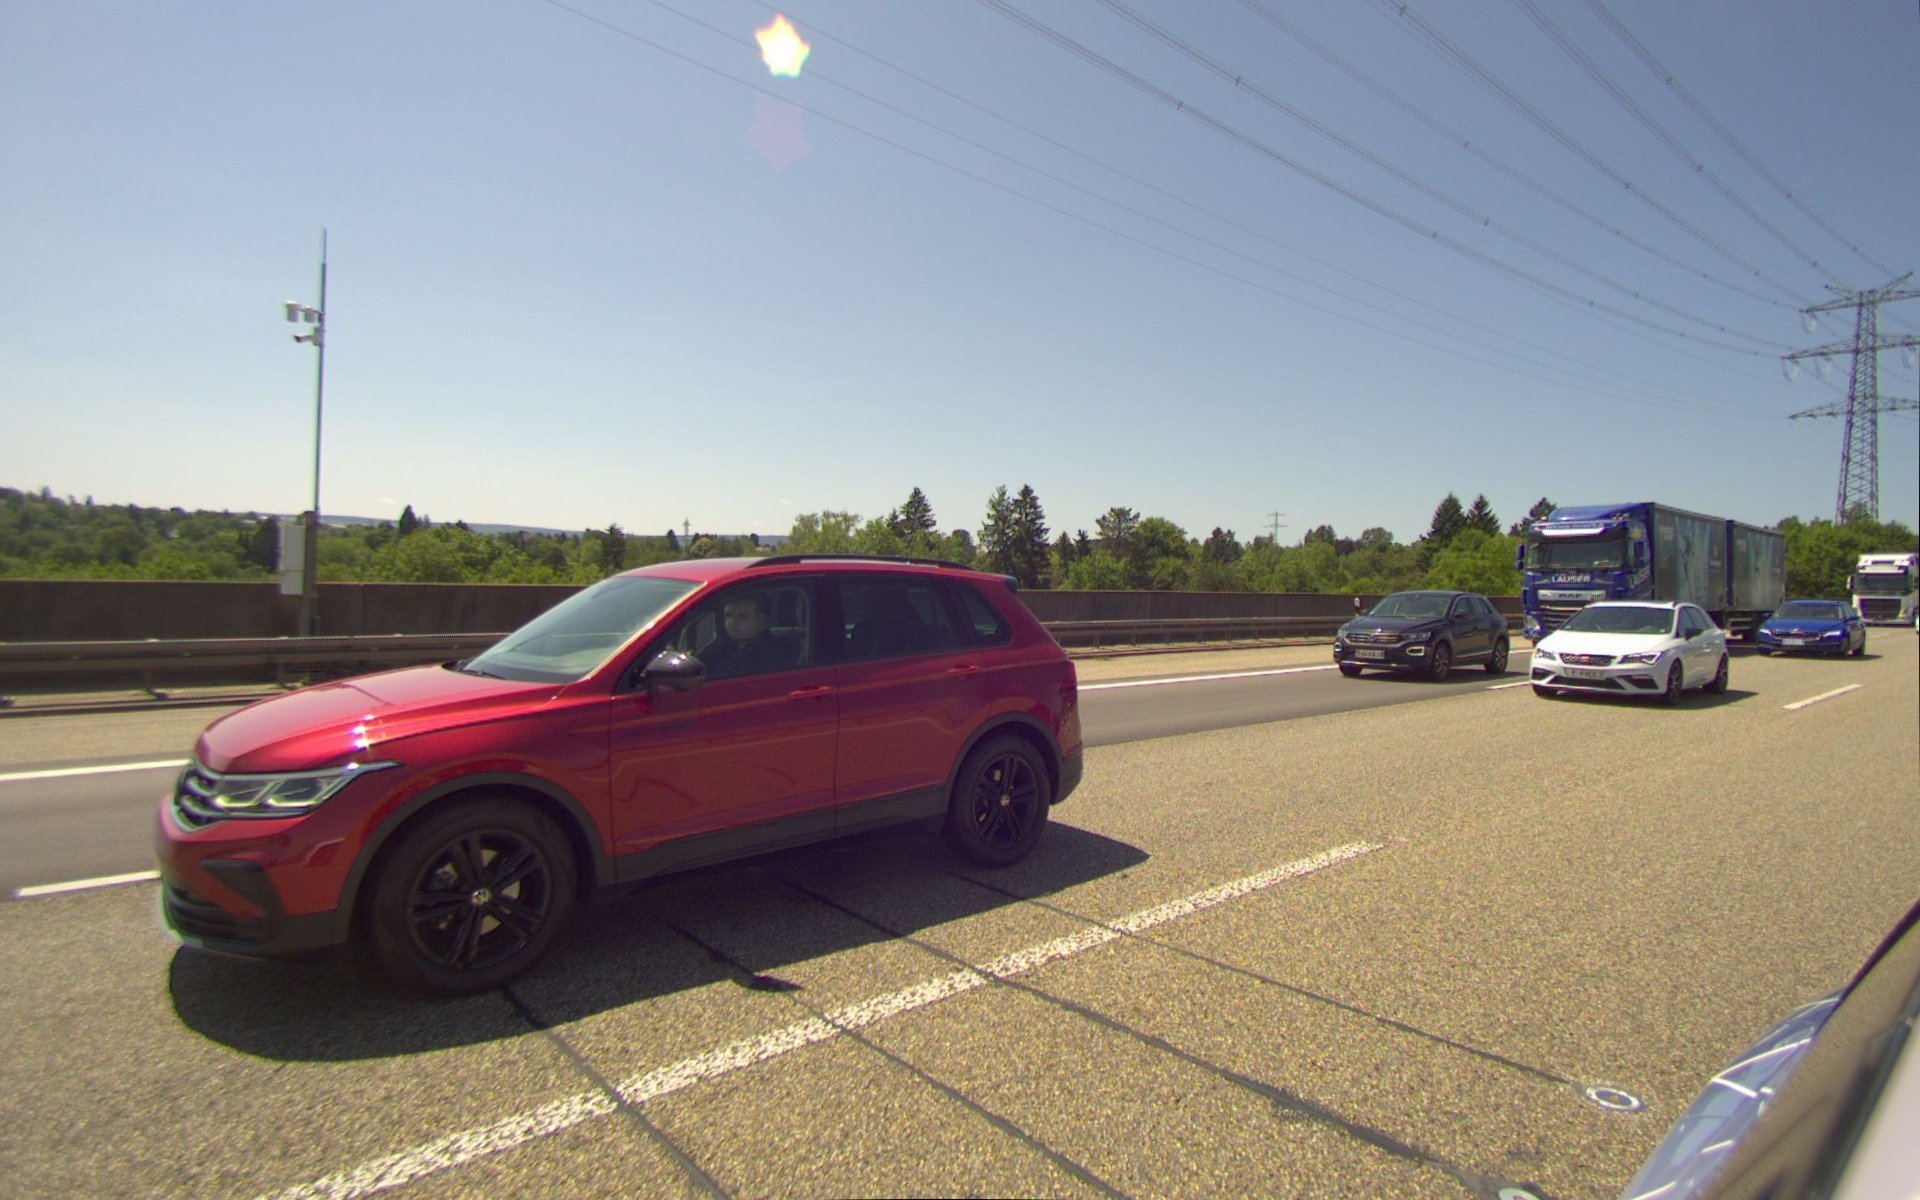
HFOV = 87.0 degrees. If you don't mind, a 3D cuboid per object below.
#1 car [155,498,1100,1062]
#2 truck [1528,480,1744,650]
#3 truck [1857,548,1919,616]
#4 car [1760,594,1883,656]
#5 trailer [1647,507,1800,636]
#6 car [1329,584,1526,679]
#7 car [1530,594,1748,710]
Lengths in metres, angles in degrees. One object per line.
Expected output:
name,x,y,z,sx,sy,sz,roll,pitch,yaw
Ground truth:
car,-1.342,0.518,5.073,4.151,1.683,1.778,0,1,-41
truck,19.561,-0.903,28.912,10.265,4.117,2.527,0,1,-41
truck,54.486,-1.019,58.230,10.776,3.604,2.983,0,0,-41
car,22.410,0.593,26.271,4.135,1.463,1.739,0,1,-40
trailer,26.592,-0.880,35.059,8.331,3.995,2.570,0,0,-41
car,8.541,0.496,18.343,4.034,1.546,1.739,0,0,-41
car,10.291,0.659,15.228,4.003,1.508,1.841,0,0,-42
